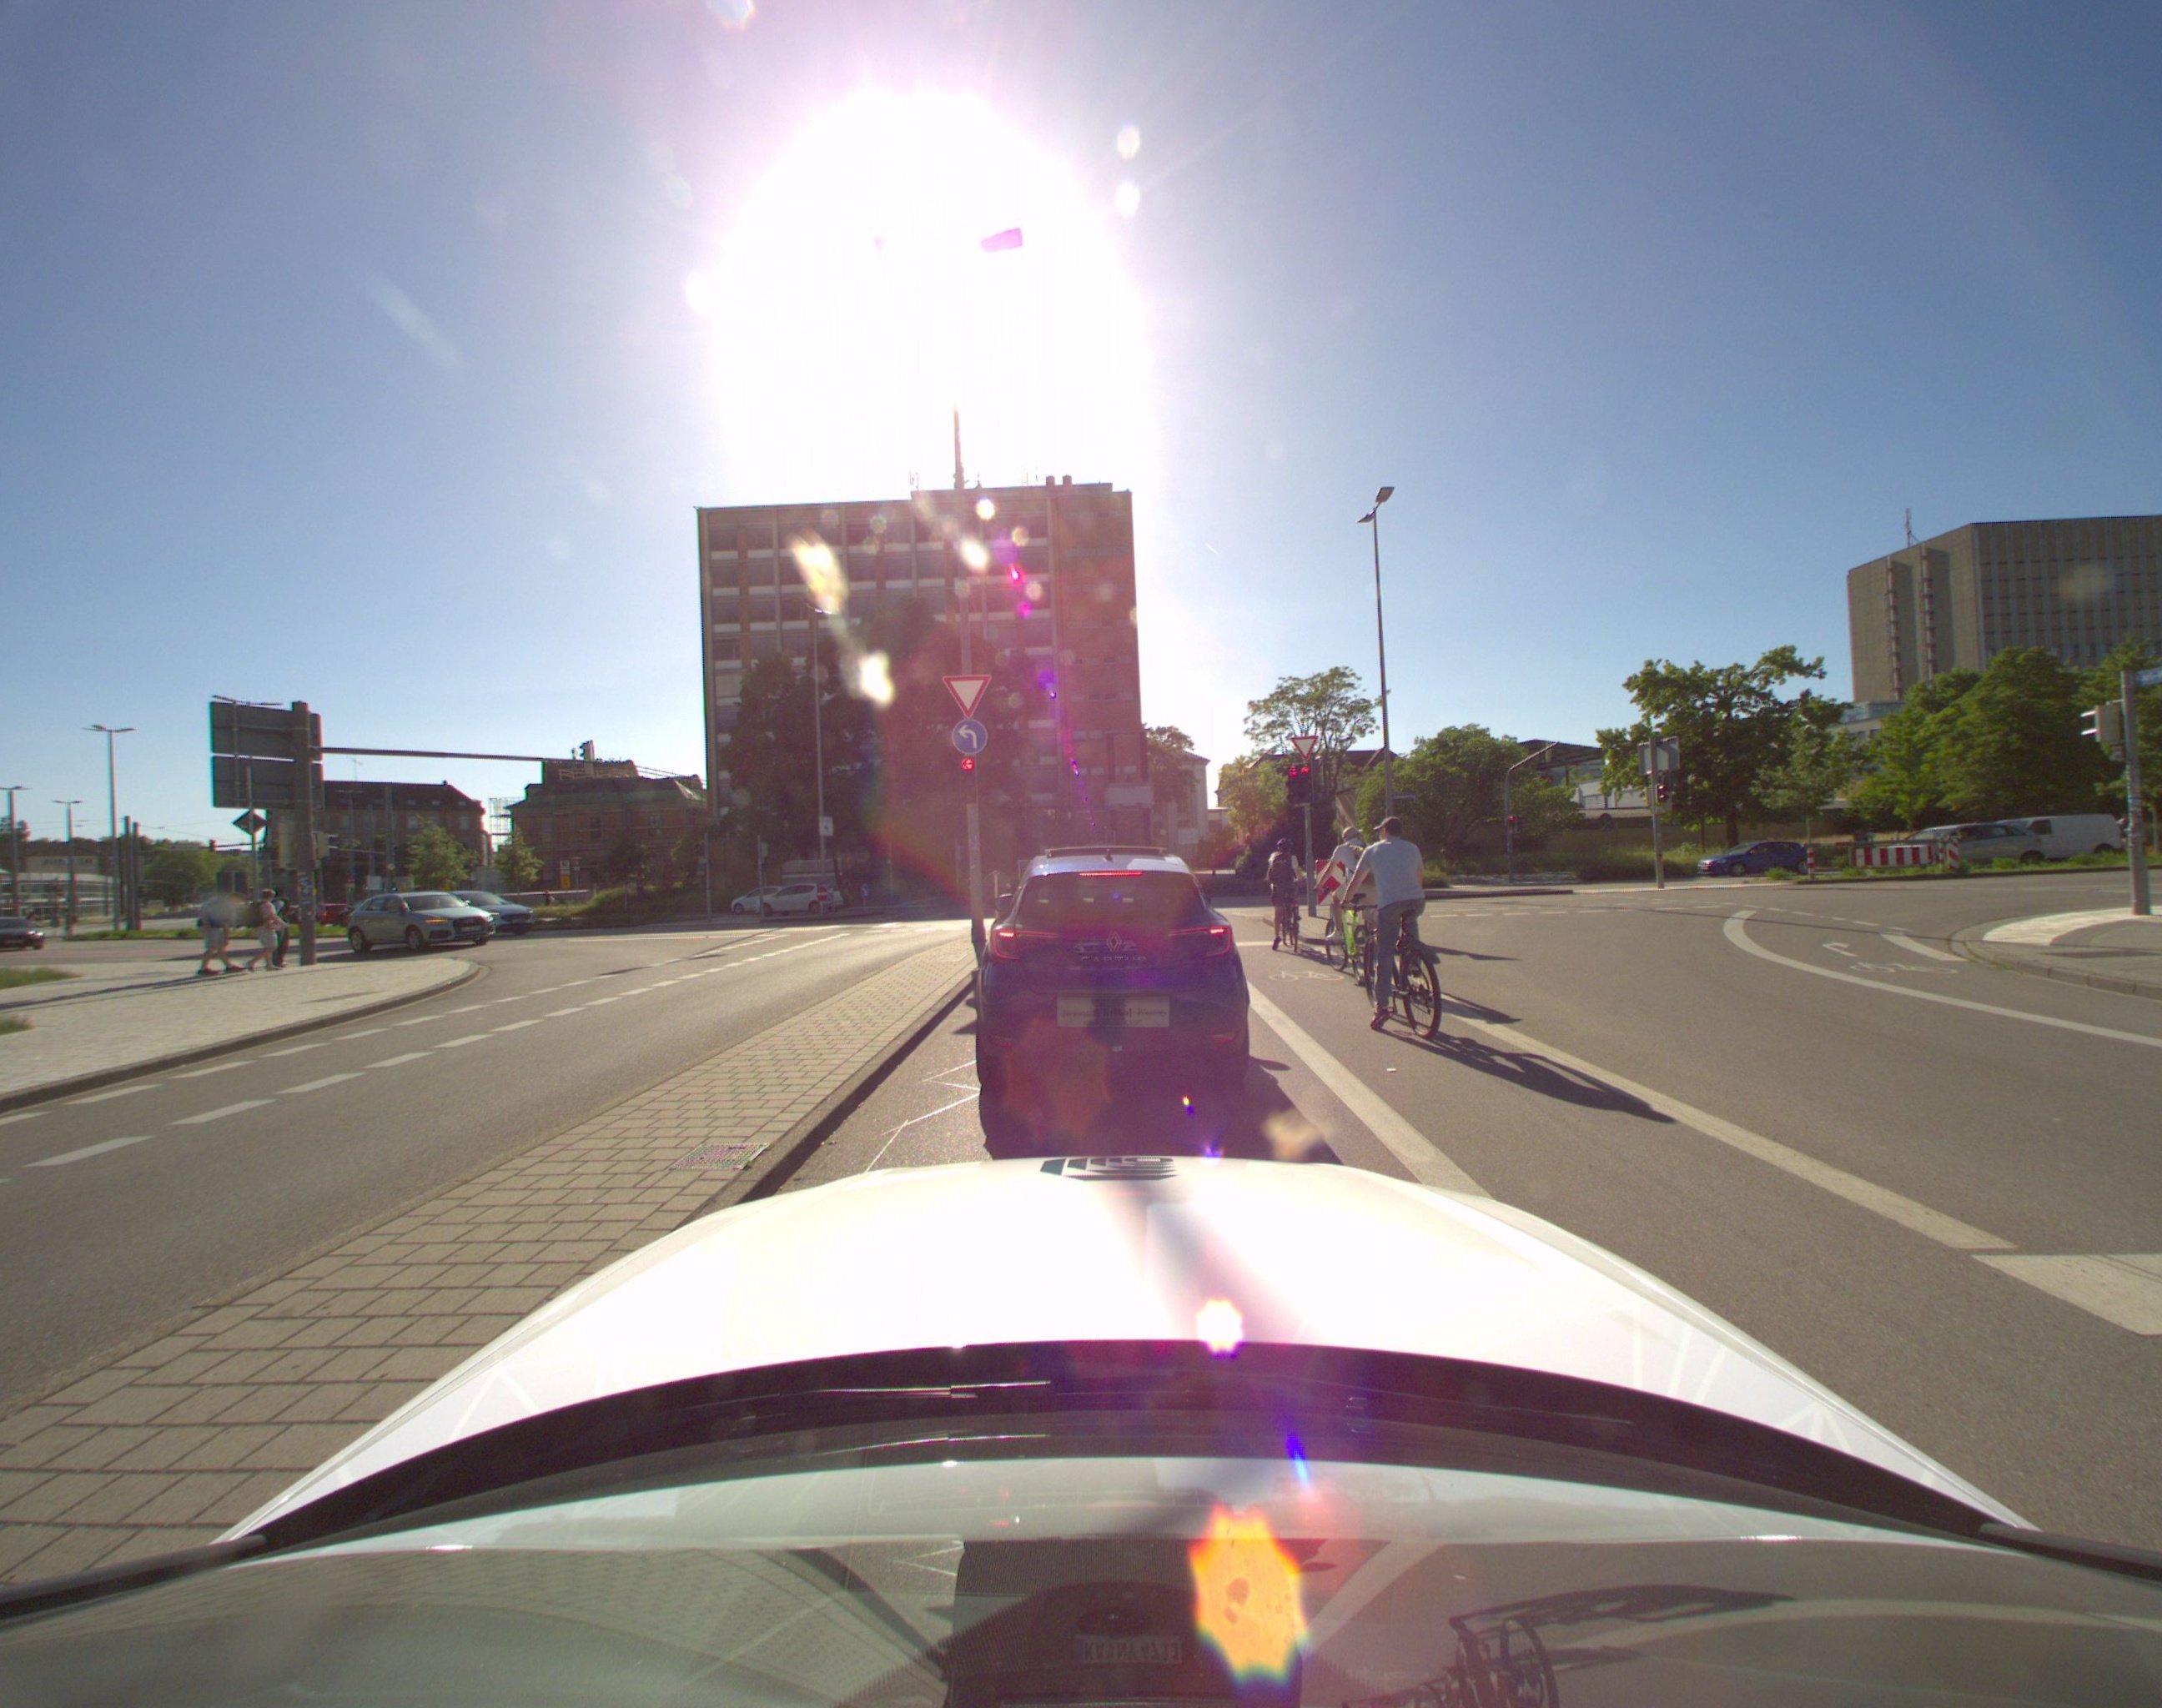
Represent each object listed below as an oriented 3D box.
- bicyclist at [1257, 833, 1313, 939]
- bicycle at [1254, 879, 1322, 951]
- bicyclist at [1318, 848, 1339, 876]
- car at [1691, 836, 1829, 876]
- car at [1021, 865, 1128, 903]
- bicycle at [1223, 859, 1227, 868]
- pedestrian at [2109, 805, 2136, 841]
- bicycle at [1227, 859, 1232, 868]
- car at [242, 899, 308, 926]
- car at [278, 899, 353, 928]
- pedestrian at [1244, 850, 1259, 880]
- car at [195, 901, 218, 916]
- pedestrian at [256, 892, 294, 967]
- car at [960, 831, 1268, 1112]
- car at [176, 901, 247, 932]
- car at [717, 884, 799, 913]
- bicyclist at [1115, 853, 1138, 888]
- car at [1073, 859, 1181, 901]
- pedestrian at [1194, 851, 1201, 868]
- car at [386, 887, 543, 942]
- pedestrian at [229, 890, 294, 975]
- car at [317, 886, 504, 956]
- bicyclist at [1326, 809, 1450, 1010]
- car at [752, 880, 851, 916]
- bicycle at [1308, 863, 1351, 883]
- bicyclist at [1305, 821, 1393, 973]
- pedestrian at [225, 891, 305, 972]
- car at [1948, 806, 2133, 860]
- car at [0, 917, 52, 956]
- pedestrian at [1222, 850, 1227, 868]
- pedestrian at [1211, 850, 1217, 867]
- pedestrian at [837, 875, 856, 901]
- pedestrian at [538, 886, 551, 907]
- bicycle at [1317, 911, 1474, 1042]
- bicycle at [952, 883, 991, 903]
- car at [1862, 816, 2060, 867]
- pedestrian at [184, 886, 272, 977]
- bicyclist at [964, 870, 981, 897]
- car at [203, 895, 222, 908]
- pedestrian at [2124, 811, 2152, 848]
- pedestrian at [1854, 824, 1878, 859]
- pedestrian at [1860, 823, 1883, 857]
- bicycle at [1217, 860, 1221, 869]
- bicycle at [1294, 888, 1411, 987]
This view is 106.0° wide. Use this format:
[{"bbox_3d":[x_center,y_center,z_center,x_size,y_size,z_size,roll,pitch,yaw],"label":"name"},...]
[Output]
[{"bbox_3d":[3.240,0.501,12.999,0.722,1.629,0.970,0,-1,6],"label":"bicyclist"},{"bbox_3d":[3.250,0.928,12.946,0.735,0.995,2.177,0,-1,6],"label":"bicycle"},{"bbox_3d":[13.058,0.414,42.969,0.930,1.429,0.600,-3,-1,11],"label":"bicyclist"},{"bbox_3d":[28.259,0.097,34.015,4.142,1.435,1.746,-2,-1,6],"label":"car"},{"bbox_3d":[-0.275,1.445,39.318,4.791,1.632,1.850,-2,-1,12],"label":"car"},{"bbox_3d":[16.660,1.076,94.184,0.403,0.973,1.686,0,-1,6],"label":"bicycle"},{"bbox_3d":[50.786,-1.504,39.709,0.559,1.695,0.528,-3,-1,5],"label":"pedestrian"},{"bbox_3d":[17.194,1.072,94.184,0.403,0.973,1.686,0,-1,6],"label":"bicycle"},{"bbox_3d":[-53.811,3.924,54.390,4.331,1.632,1.855,-3,-1,27],"label":"car"},{"bbox_3d":[-48.406,3.784,51.482,4.333,1.632,1.855,-3,-1,24],"label":"car"},{"bbox_3d":[9.393,0.619,44.889,0.732,1.603,0.601,-3,-1,14],"label":"pedestrian"},{"bbox_3d":[-128.092,7.993,119.260,3.948,2.013,2.013,-3,-1,38],"label":"car"},{"bbox_3d":[-19.219,1.787,19.429,0.600,1.729,0.572,-2,-1,-45],"label":"pedestrian"},{"bbox_3d":[0.205,0.702,6.815,1.798,1.632,3.999,-1,0,0],"label":"car"},{"bbox_3d":[-54.649,3.927,51.181,4.332,1.632,1.855,-4,-1,26],"label":"car"},{"bbox_3d":[-17.446,2.407,44.025,3.806,1.435,1.750,-3,-2,17],"label":"car"},{"bbox_3d":[2.468,0.886,44.151,1.094,1.867,0.655,-3,1,12],"label":"bicyclist"},{"bbox_3d":[2.008,1.131,35.274,4.340,1.632,1.851,-2,-1,15],"label":"car"},{"bbox_3d":[12.968,0.564,90.818,0.621,1.856,0.564,-2,-1,4],"label":"pedestrian"},{"bbox_3d":[-21.570,2.118,28.549,4.652,1.619,1.851,-4,-3,14],"label":"car"},{"bbox_3d":[-17.296,1.649,17.190,0.784,1.690,0.794,-6,-3,32],"label":"pedestrian"},{"bbox_3d":[-18.719,1.861,22.775,4.213,1.581,1.800,-4,0,14],"label":"car"},{"bbox_3d":[2.714,0.468,7.308,0.748,1.668,1.017,0,-1,3],"label":"bicyclist"},{"bbox_3d":[-12.696,1.992,37.068,3.812,1.435,1.748,-2,-1,10],"label":"car"},{"bbox_3d":[13.157,1.016,43.114,2.063,0.964,0.600,-3,-1,10],"label":"bicycle"},{"bbox_3d":[3.217,0.494,9.862,0.644,1.739,1.065,0,-1,-4],"label":"bicyclist"},{"bbox_3d":[-18.141,1.704,18.121,0.900,1.690,0.839,-4,-3,-3],"label":"pedestrian"},{"bbox_3d":[39.023,-0.824,33.240,4.854,2.107,2.003,0,-1,6],"label":"car"},{"bbox_3d":[-47.645,3.700,36.156,4.722,1.505,1.831,-5,0,31],"label":"car"},{"bbox_3d":[16.220,0.601,92.194,0.473,2.014,0.469,-2,-1,8],"label":"pedestrian"},{"bbox_3d":[14.869,0.473,91.052,0.609,1.856,0.468,-2,-1,7],"label":"pedestrian"},{"bbox_3d":[-14.845,2.147,51.619,0.854,1.571,0.561,-5,-1,13],"label":"pedestrian"},{"bbox_3d":[-41.503,3.268,62.962,0.541,1.615,0.653,-3,-1,41],"label":"pedestrian"},{"bbox_3d":[2.722,1.021,7.308,0.737,0.896,1.980,0,-1,3],"label":"bicycle"},{"bbox_3d":[-5.923,2.113,44.039,2.016,0.964,0.593,-2,-1,-25],"label":"bicycle"},{"bbox_3d":[28.142,-0.382,26.177,4.025,1.408,1.872,-2,-1,8],"label":"car"},{"bbox_3d":[-18.060,1.613,17.253,0.696,1.800,1.110,-6,-3,28],"label":"pedestrian"},{"bbox_3d":[-5.886,1.597,44.066,0.741,1.441,0.593,-2,-1,-25],"label":"bicyclist"},{"bbox_3d":[-139.043,7.558,130.331,3.949,2.013,2.012,-3,-1,43],"label":"car"},{"bbox_3d":[50.766,-1.173,39.103,0.559,1.778,0.528,-2,0,5],"label":"pedestrian"},{"bbox_3d":[38.313,-0.600,39.751,0.559,1.695,0.528,-3,-1,5],"label":"pedestrian"},{"bbox_3d":[39.514,-0.695,40.704,0.559,1.695,0.528,-3,-1,5],"label":"pedestrian"},{"bbox_3d":[15.881,1.223,93.834,0.403,0.973,1.686,0,-1,6],"label":"bicycle"},{"bbox_3d":[3.216,0.955,9.864,0.657,1.003,1.967,0,-1,-4],"label":"bicycle"}]
